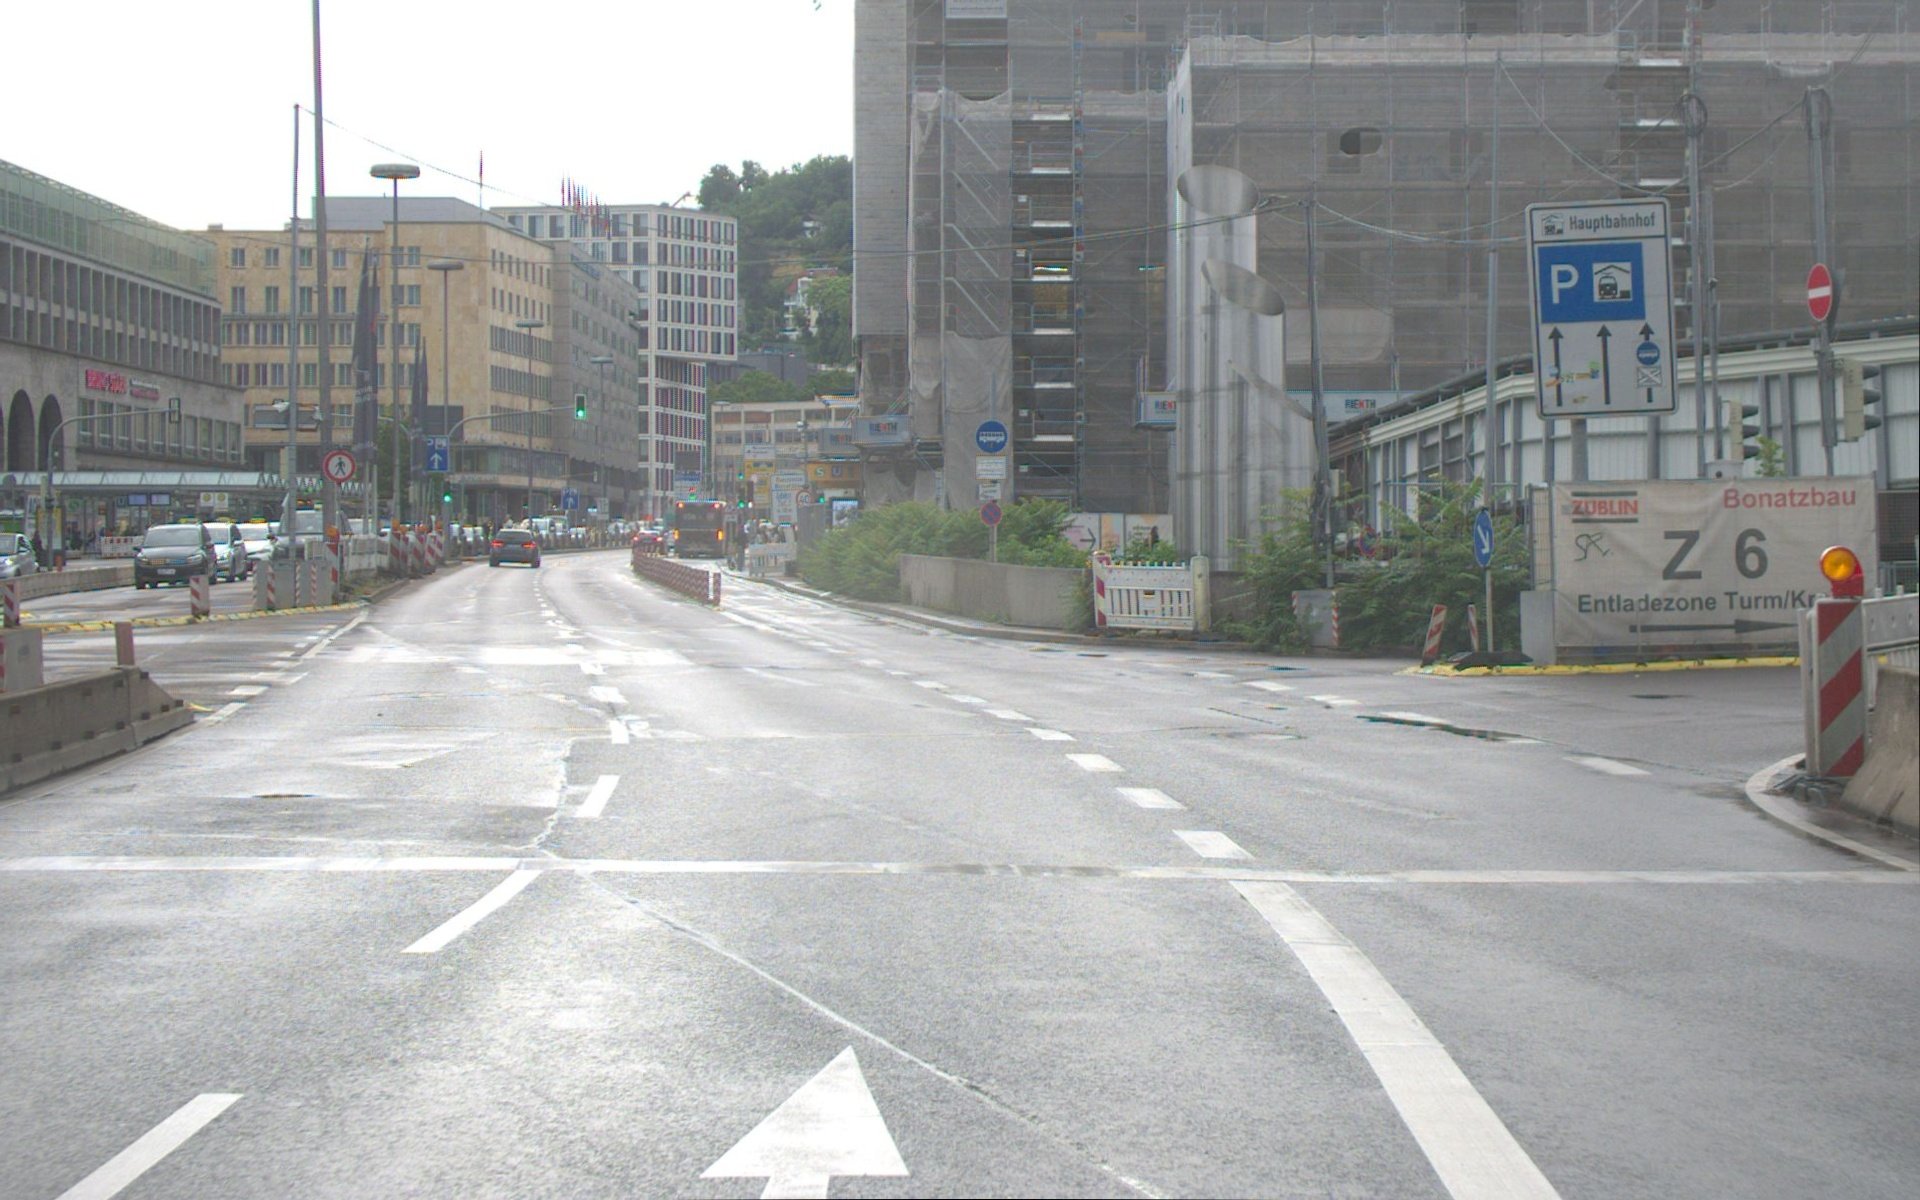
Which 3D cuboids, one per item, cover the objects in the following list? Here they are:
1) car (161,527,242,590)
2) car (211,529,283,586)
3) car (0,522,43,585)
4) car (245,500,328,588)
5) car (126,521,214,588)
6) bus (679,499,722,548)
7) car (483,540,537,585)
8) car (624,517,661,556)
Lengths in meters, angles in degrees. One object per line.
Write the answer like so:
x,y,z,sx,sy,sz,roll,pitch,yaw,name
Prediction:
-20.901,-1.123,94.842,1.901,1.523,4.178,-2,-1,-9,car
-21.486,-1.260,103.709,1.901,1.523,4.178,-2,-1,-9,car
-25.941,-1.229,92.646,1.901,1.523,4.178,-2,-1,-9,car
-17.344,-1.421,88.664,1.901,2.075,4.178,-2,-1,-9,car
-20.383,-1.164,88.821,1.901,1.523,4.178,-2,-1,-9,car
-13.841,-4.060,183.440,1.993,2.423,4.000,-2,-1,-1,bus
-16.972,-1.400,129.541,1.901,1.523,4.178,-2,-1,-9,car
-18.092,-3.584,196.127,1.993,2.007,4.000,-2,-1,-5,car
